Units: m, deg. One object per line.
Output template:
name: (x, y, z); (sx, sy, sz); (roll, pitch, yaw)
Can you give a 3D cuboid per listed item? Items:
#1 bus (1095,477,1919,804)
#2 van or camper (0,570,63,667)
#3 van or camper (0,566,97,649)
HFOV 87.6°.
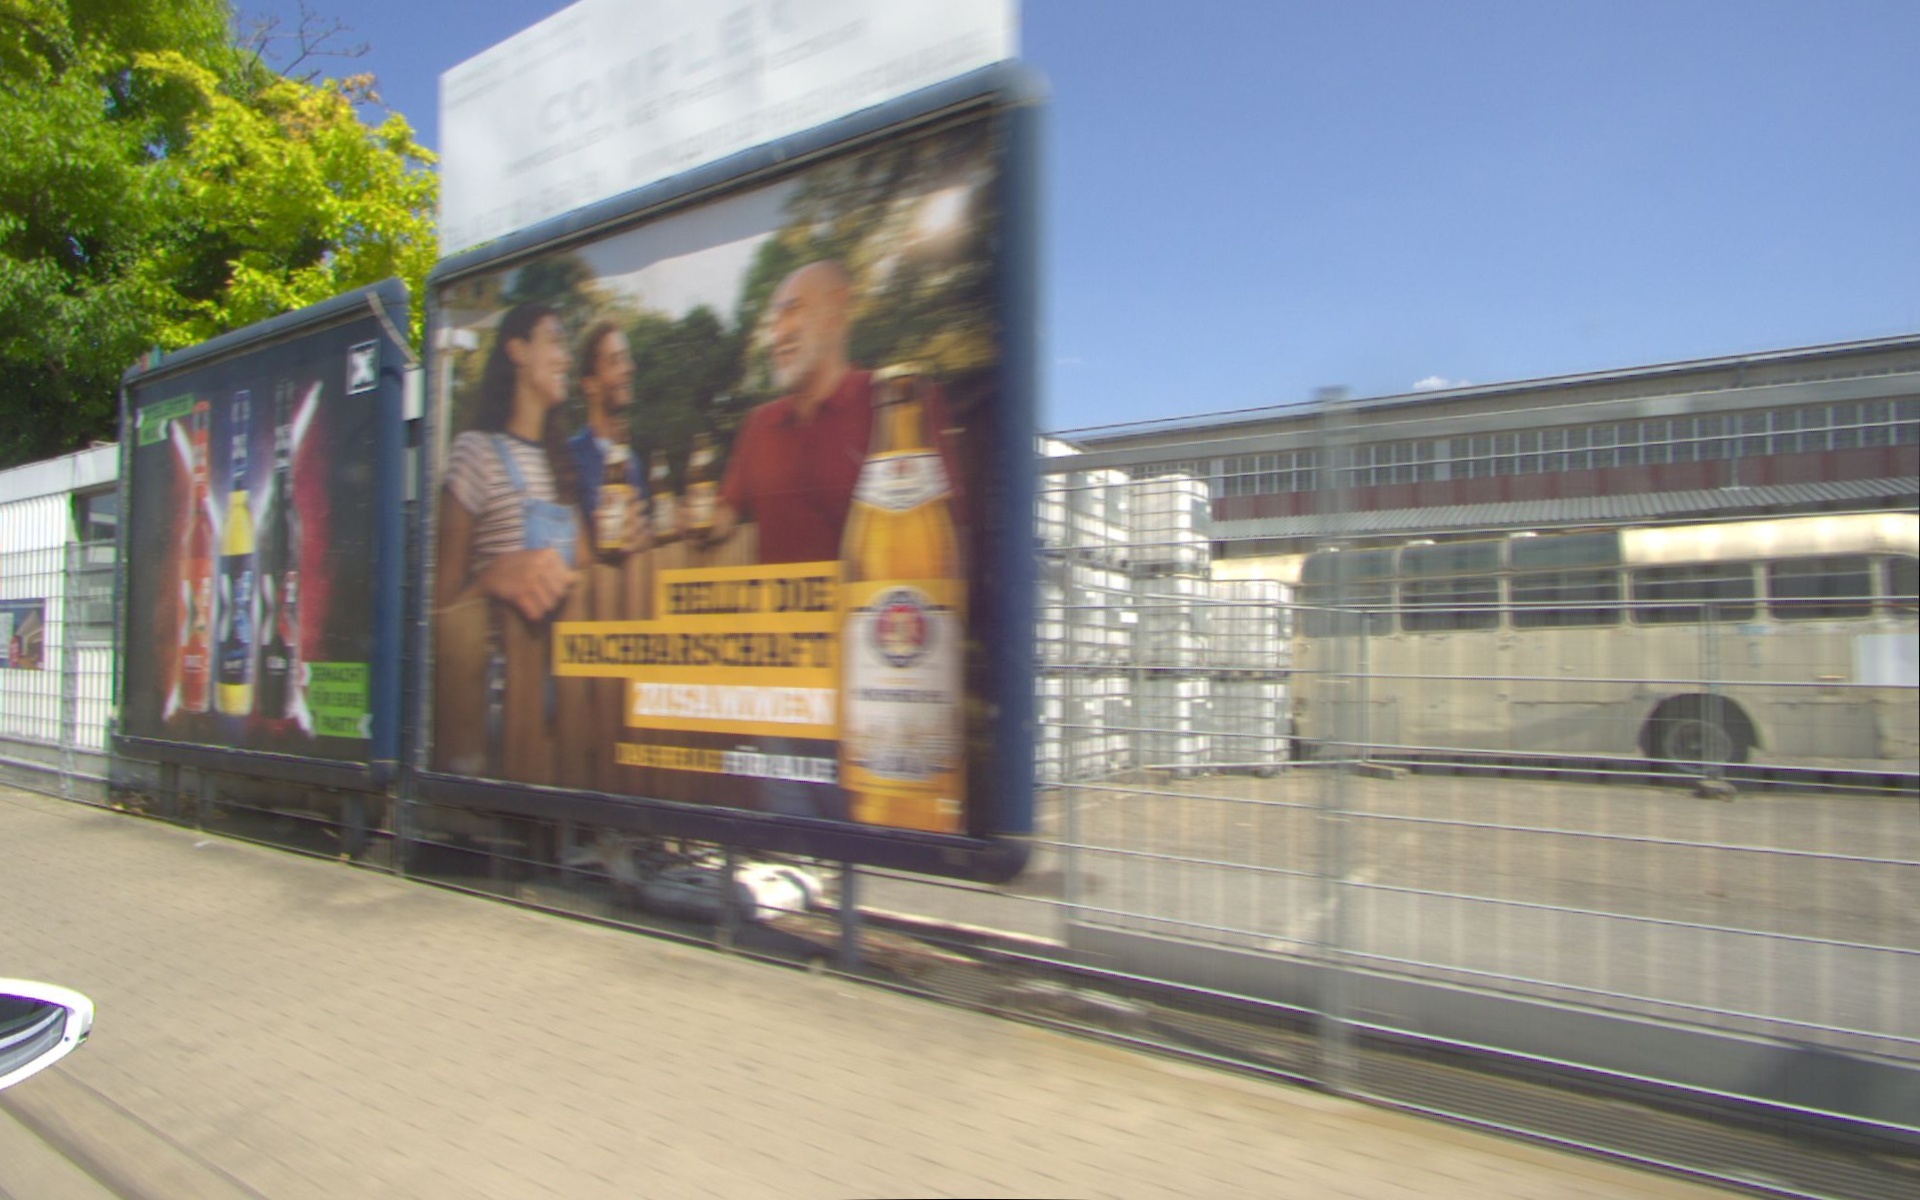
bus: (6.917, 0.598, 12.992); (10.127, 3.210, 2.561); (-3, -3, 33)
van or camper: (-29.905, 0.462, 28.988); (2.020, 2.850, 5.492); (2, -1, 36)
van or camper: (-35.849, 0.281, 35.925); (2.301, 2.984, 7.048); (-1, -1, 32)
